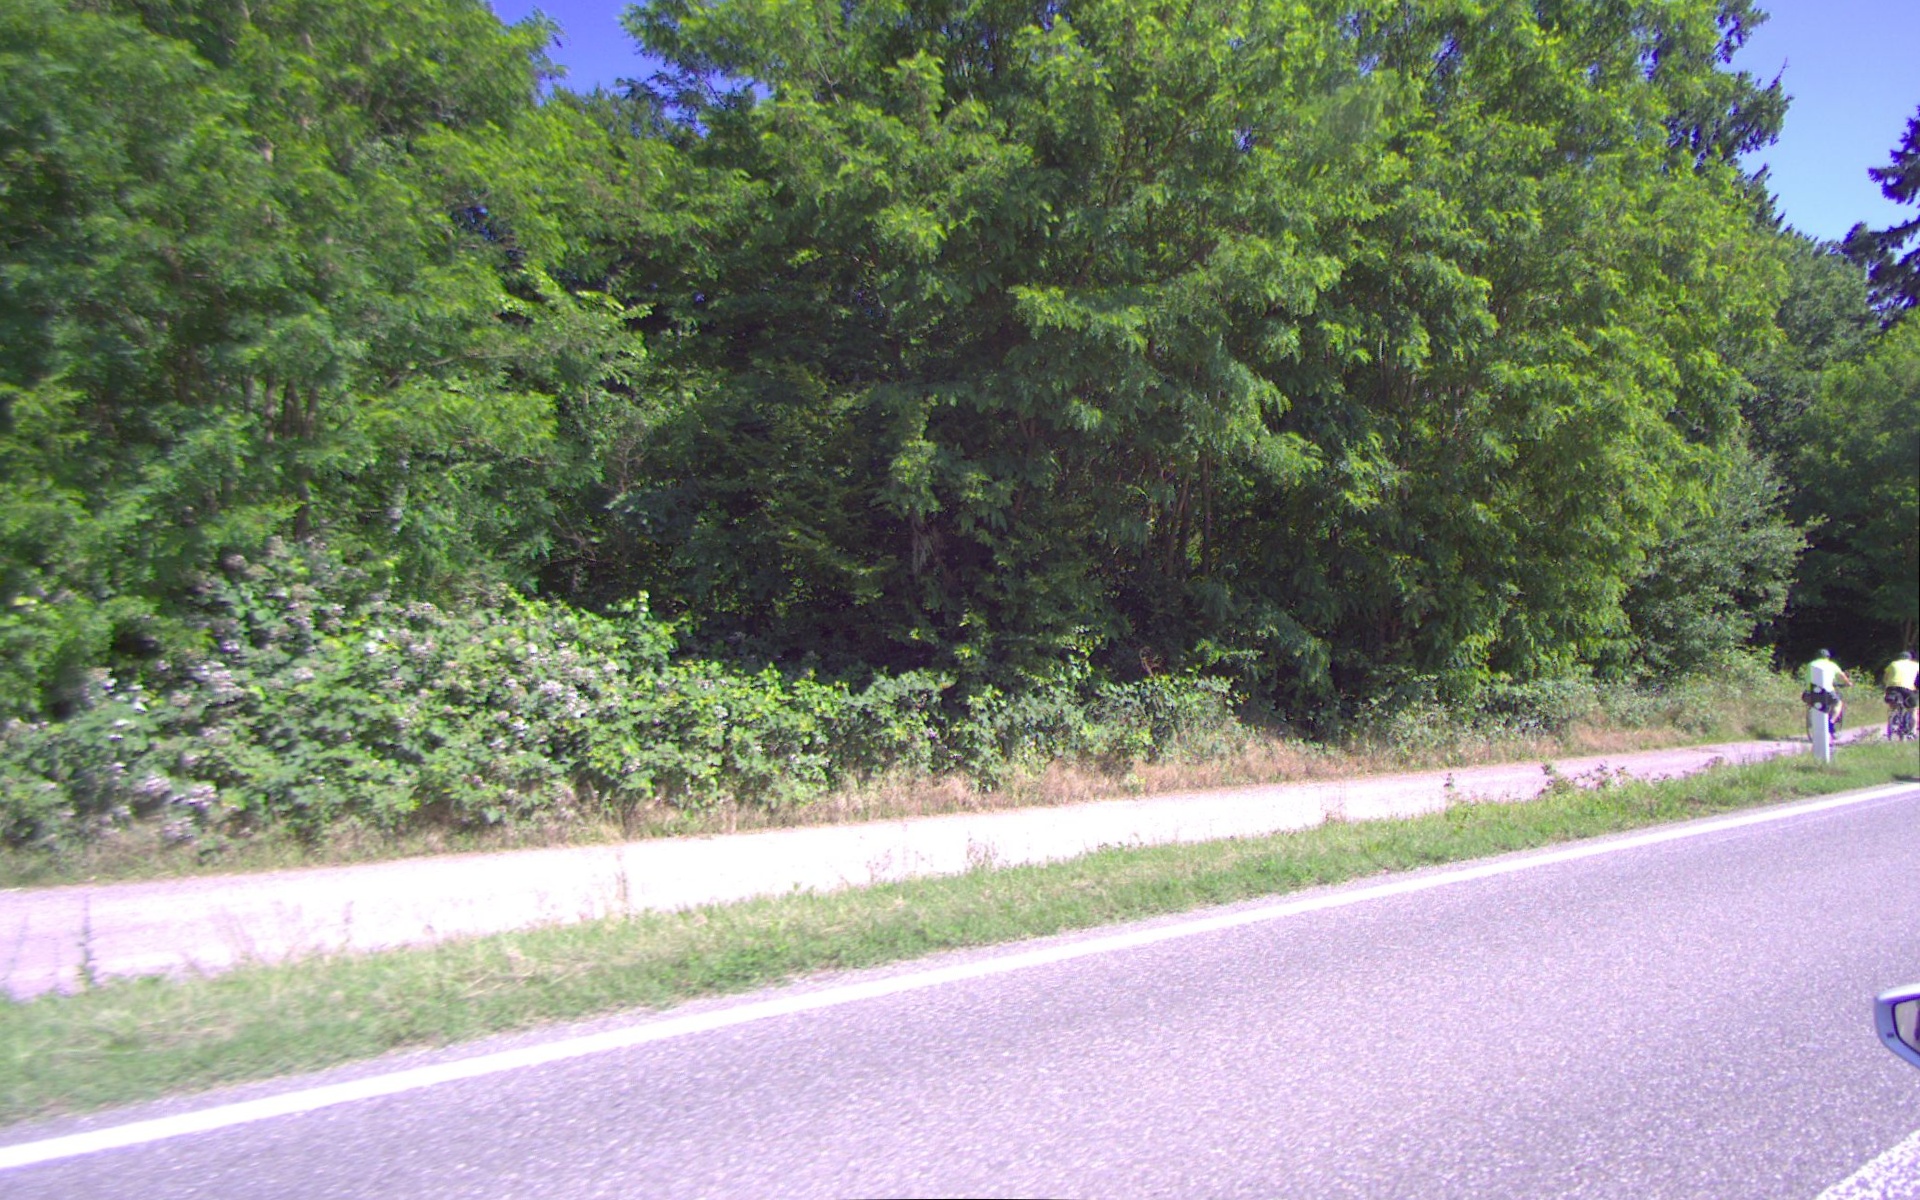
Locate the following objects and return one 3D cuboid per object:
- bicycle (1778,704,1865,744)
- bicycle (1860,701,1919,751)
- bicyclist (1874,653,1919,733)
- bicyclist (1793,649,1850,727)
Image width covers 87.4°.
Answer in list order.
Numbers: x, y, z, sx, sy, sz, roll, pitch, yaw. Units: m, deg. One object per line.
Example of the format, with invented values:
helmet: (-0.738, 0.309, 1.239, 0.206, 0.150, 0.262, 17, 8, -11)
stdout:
bicycle: (16.770, 2.400, 19.544, 2.112, 0.690, 0.616, 4, -1, -30)
bicycle: (17.434, 2.297, 18.506, 2.112, 0.798, 0.637, 2, -3, -31)
bicyclist: (17.363, 1.698, 18.458, 0.694, 1.434, 0.602, 1, -3, -30)
bicyclist: (16.715, 1.704, 19.492, 0.694, 1.434, 0.602, 3, -1, -30)
